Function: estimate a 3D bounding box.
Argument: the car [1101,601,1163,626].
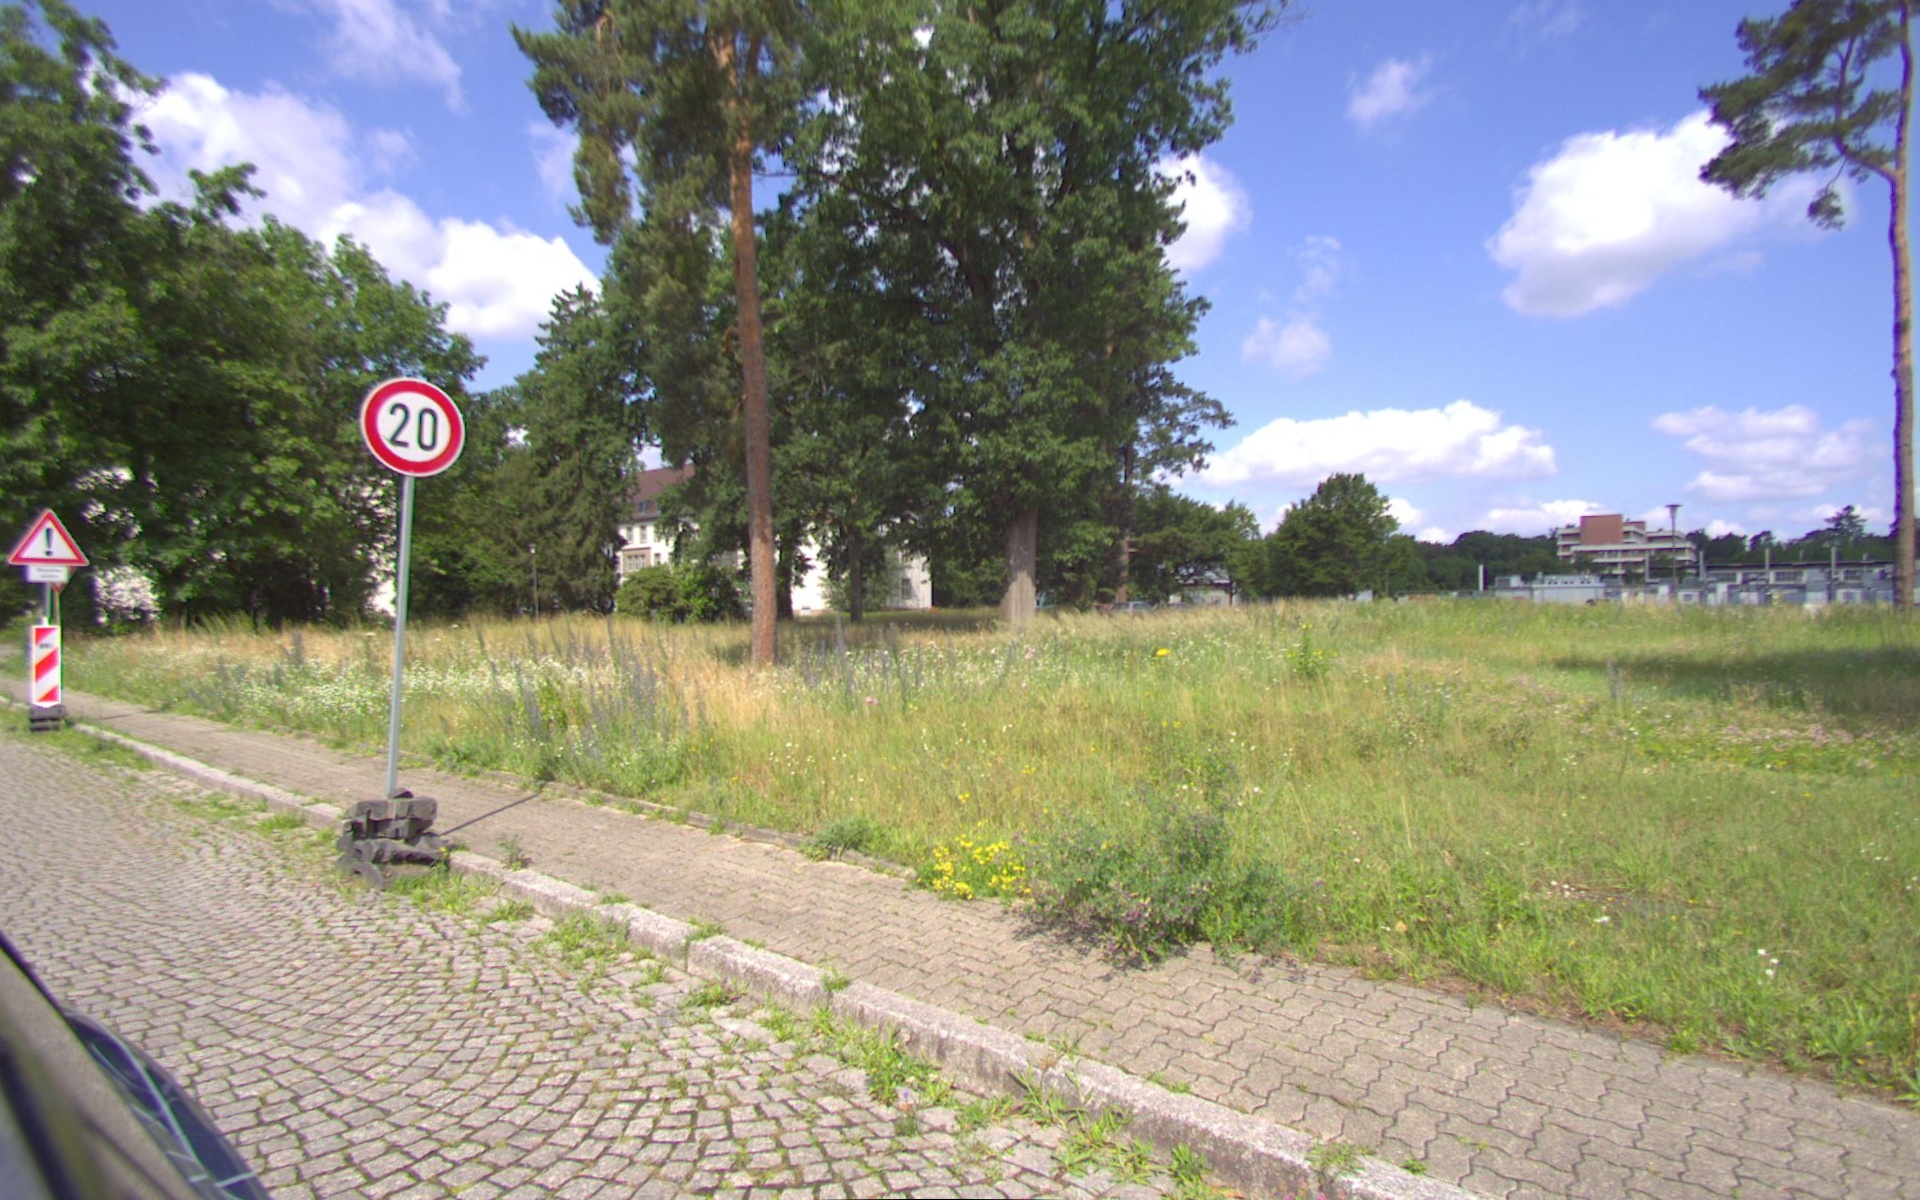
[{"bbox_3d":[10.189,0.791,59.702,1.898,1.423,4.018,-1,-1,39],"label":"car"}]
